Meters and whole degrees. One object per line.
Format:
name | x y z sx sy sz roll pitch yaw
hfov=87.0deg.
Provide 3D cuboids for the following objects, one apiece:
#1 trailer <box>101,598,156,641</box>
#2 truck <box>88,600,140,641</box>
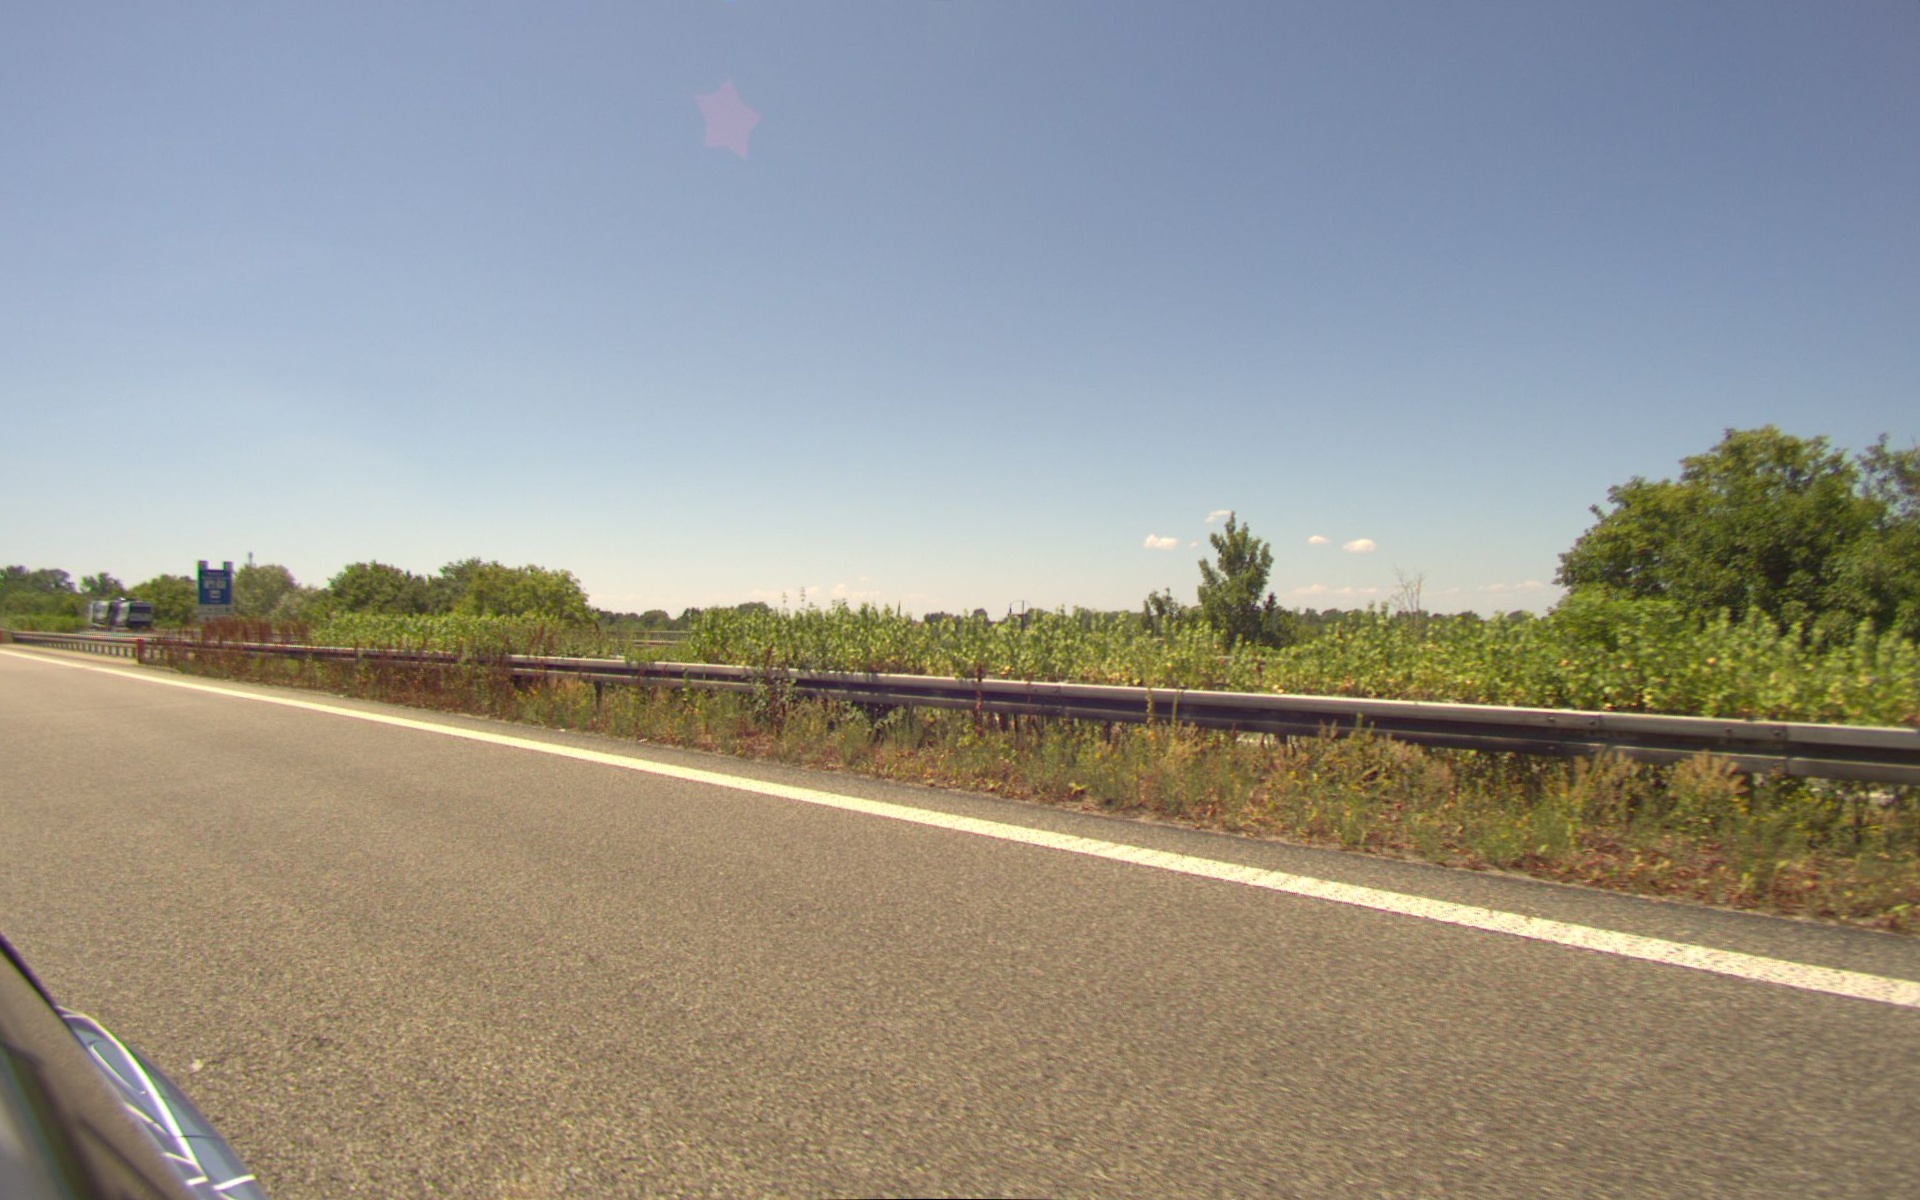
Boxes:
trailer | -81.740 1.928 99.421 9.659 4.020 2.894 -2 0 43
truck | -87.898 2.143 105.052 9.622 4.020 2.886 -2 0 43
